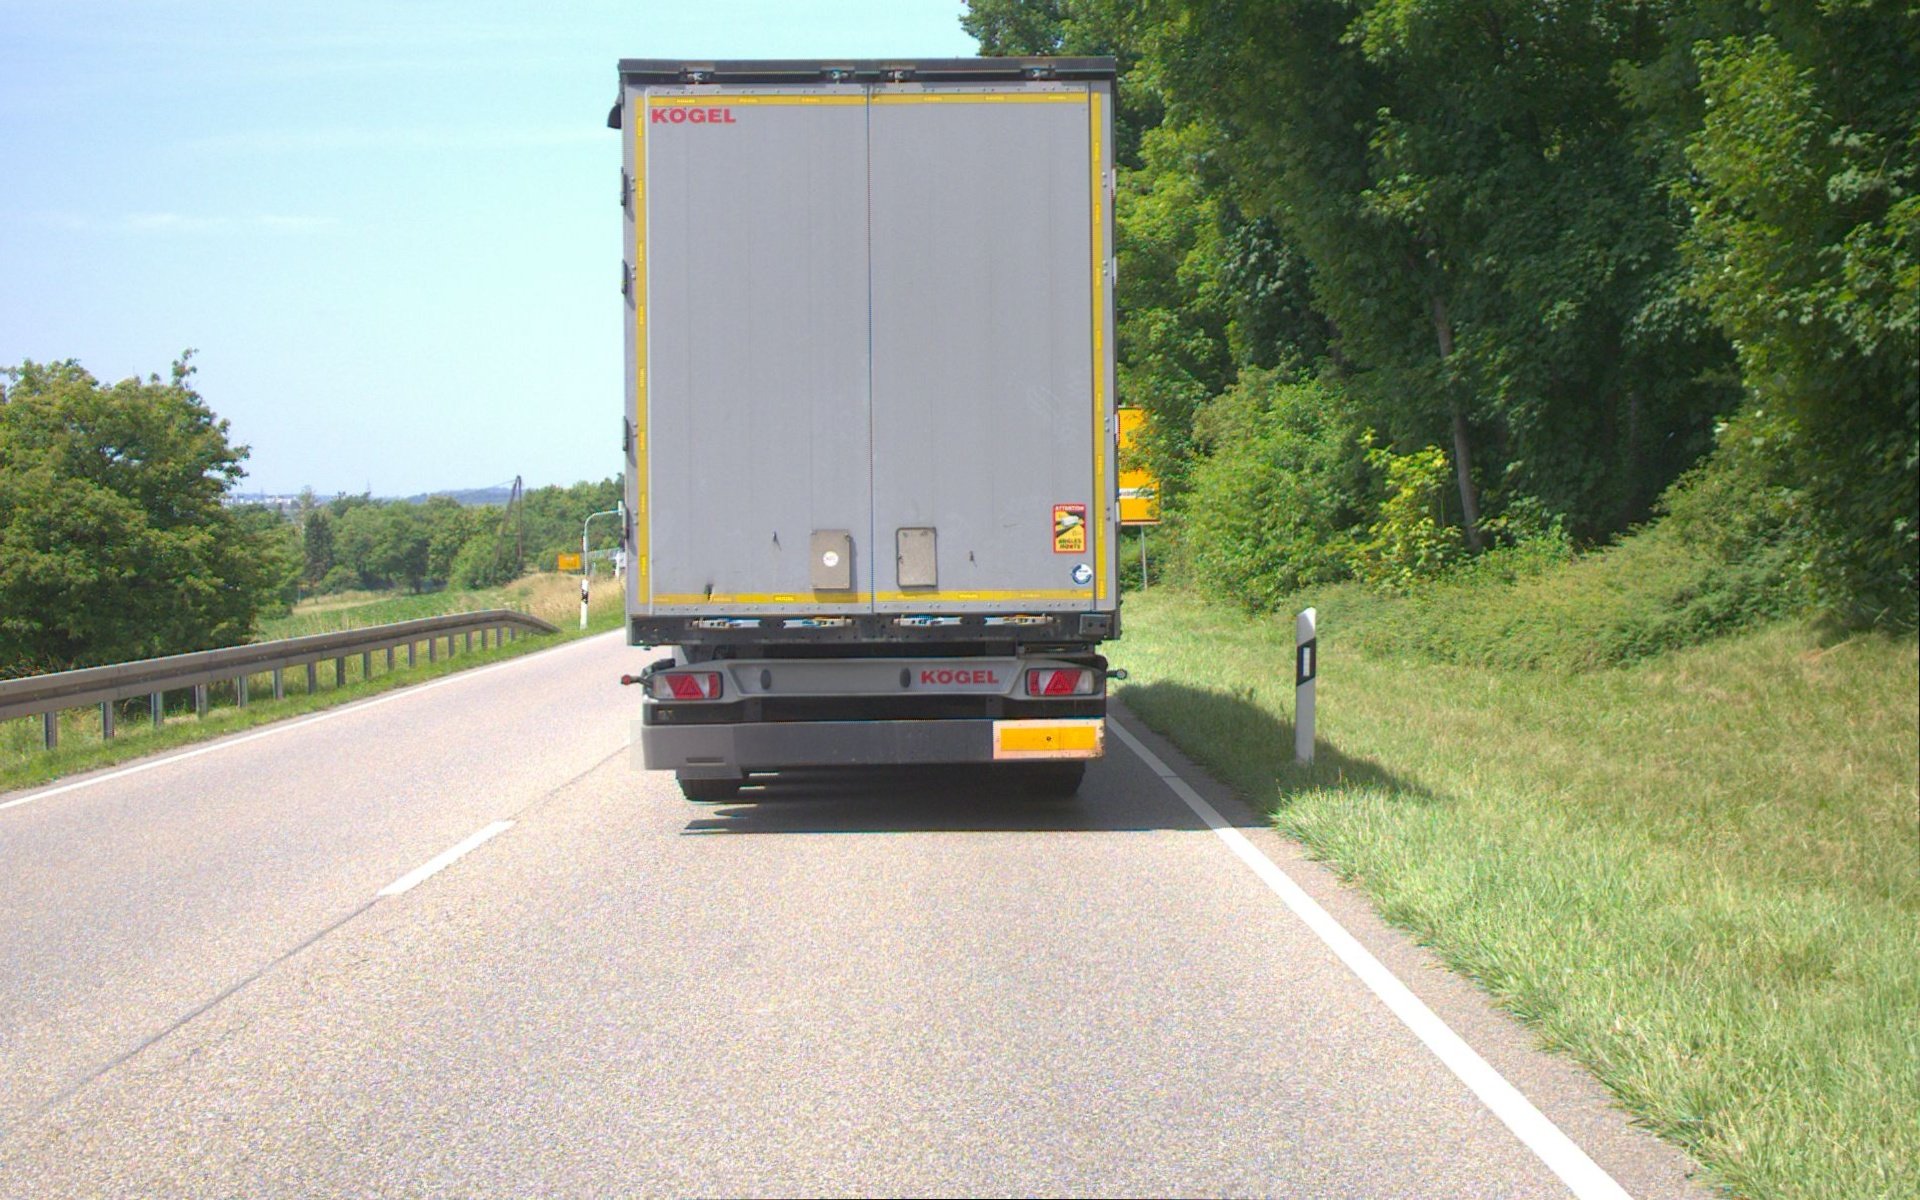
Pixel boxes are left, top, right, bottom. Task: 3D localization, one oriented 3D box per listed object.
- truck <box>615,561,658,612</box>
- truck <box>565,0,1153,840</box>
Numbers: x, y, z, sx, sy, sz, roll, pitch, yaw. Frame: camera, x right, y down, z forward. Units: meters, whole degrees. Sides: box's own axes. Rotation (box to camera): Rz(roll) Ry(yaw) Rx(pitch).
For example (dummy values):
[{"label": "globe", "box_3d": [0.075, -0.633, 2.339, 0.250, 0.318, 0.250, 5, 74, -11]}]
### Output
[{"label": "truck", "box_3d": [-23.694, -0.955, 251.878, 2.756, 3.564, 11.066, -3, 0, -4]}, {"label": "truck", "box_3d": [-0.559, -1.084, 21.533, 2.907, 4.395, 8.860, 0, 1, -1]}]
